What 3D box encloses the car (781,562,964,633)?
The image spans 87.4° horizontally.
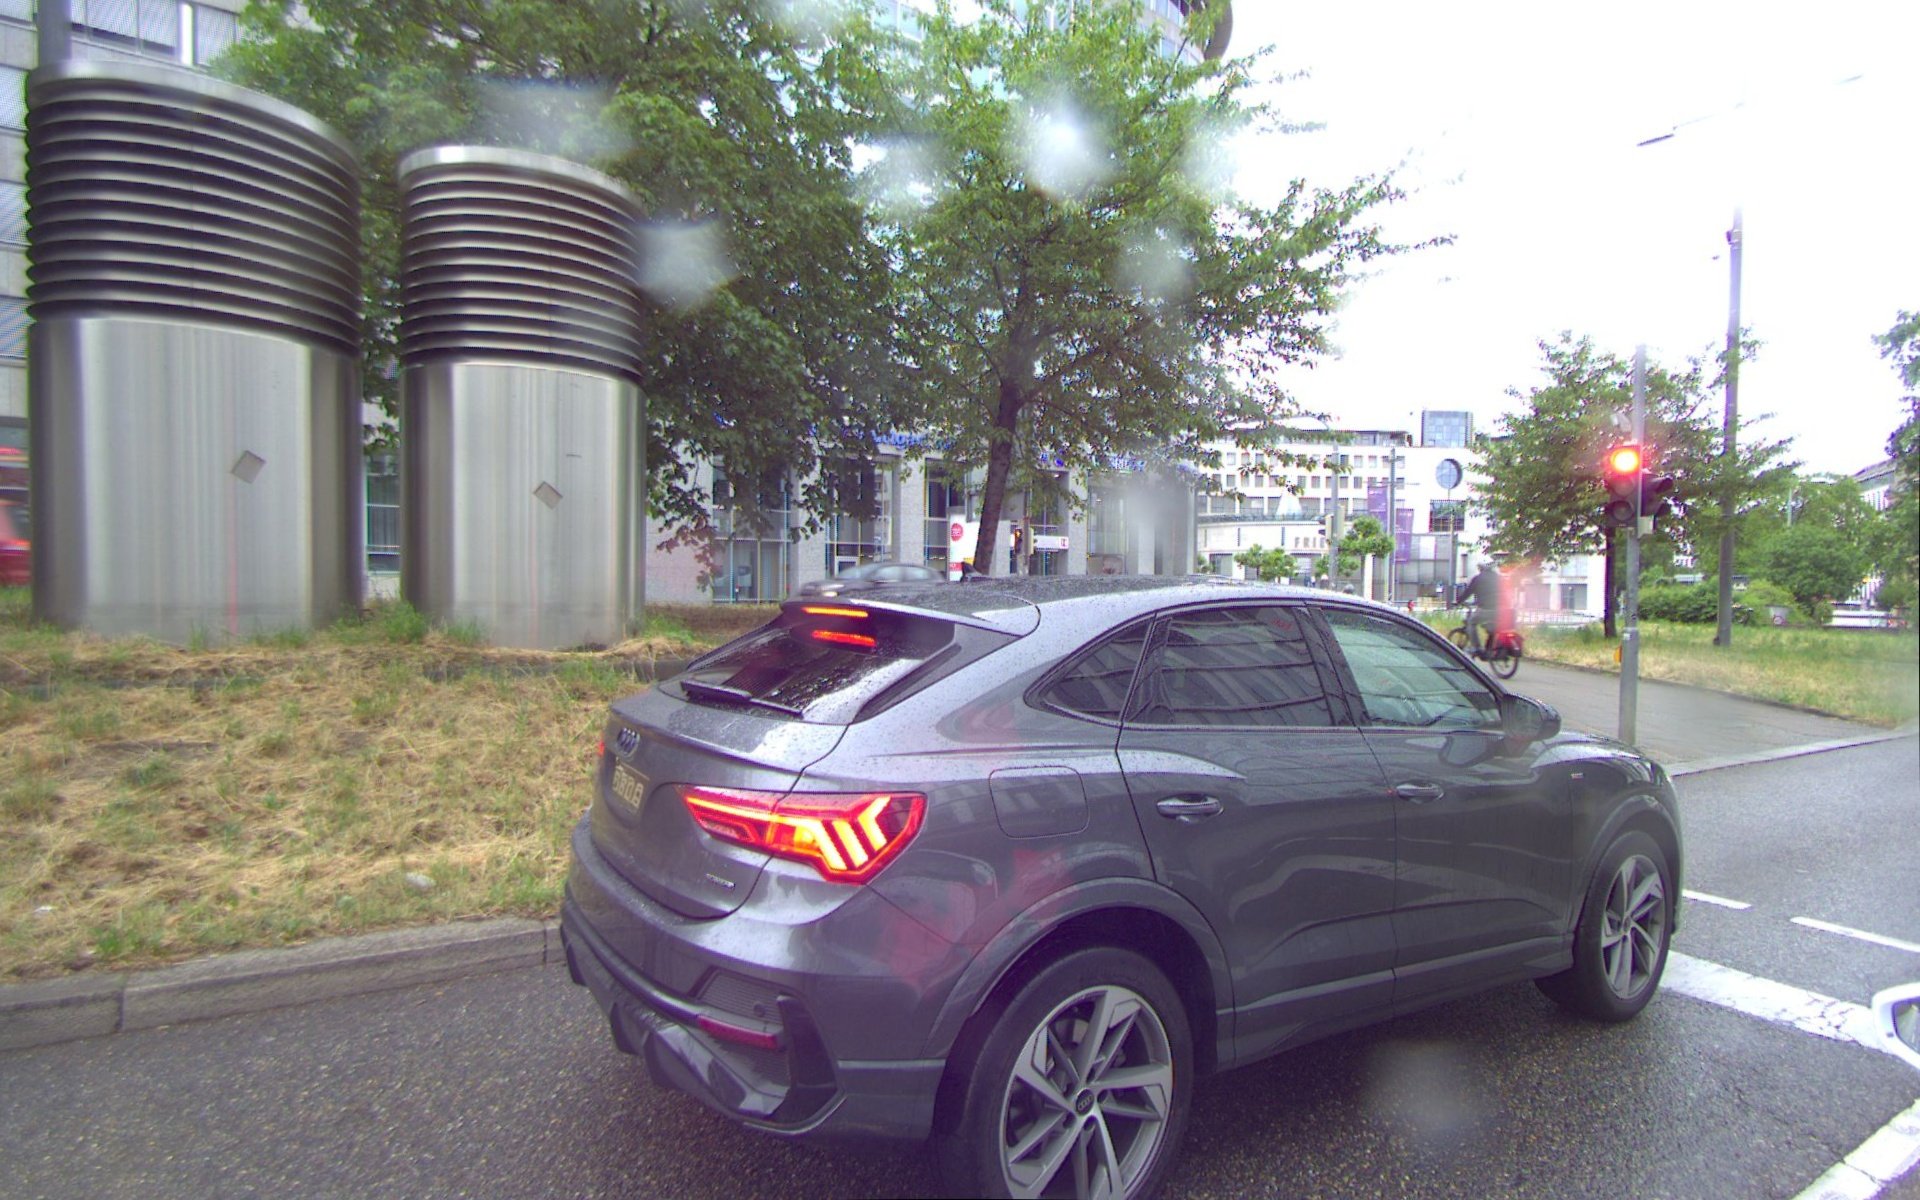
[{"bbox_3d":[-2.030,-0.058,23.833,3.966,1.506,1.790,1,2,-39],"label":"car"}]

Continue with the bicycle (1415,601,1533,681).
[{"bbox_3d":[8.812,0.673,17.342,0.748,1.161,2.130,1,3,-5],"label":"bicycle"}]

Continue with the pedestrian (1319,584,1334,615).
[{"bbox_3d":[21.249,-0.014,58.205,0.612,1.786,0.722,-1,-2,41],"label":"pedestrian"}]

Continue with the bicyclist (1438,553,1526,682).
[{"bbox_3d":[8.844,0.268,17.075,0.748,2.111,1.084,1,4,-5],"label":"bicyclist"}]

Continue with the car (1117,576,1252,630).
[{"bbox_3d":[7.044,0.099,31.333,4.347,1.506,1.789,1,3,-40],"label":"car"}]

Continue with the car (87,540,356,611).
[{"bbox_3d":[-15.534,-0.482,21.362,4.435,1.343,1.878,1,1,-37],"label":"car"}]

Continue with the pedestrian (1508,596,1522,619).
[{"bbox_3d":[50.657,0.697,91.627,0.734,2.041,0.783,1,3,-38],"label":"pedestrian"}]

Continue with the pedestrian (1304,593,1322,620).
[{"bbox_3d":[20.583,0.403,58.568,0.720,1.536,0.687,-1,-2,45],"label":"pedestrian"}]

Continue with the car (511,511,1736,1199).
[{"bbox_3d":[0.837,0.659,3.584,4.209,1.638,1.836,0,2,-35],"label":"car"}]
